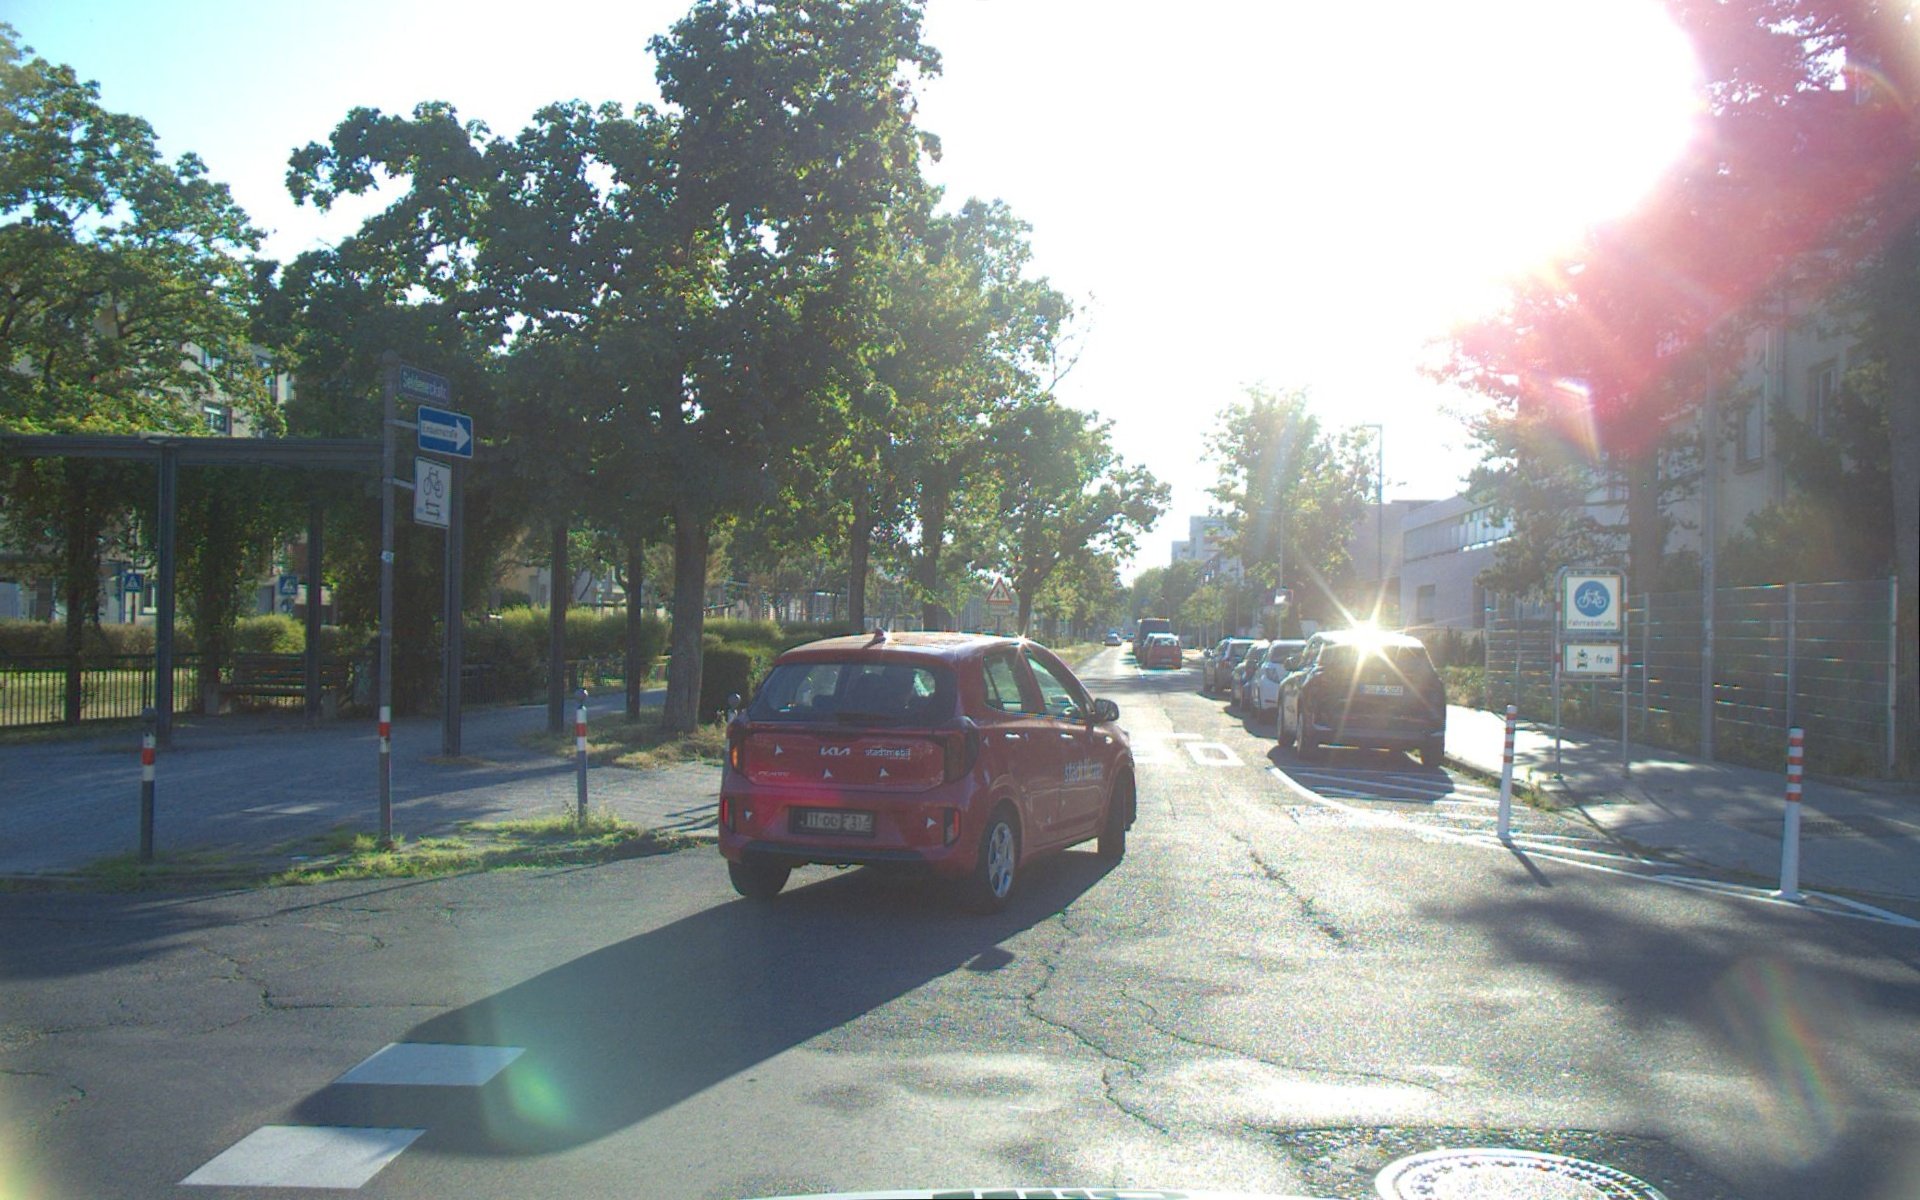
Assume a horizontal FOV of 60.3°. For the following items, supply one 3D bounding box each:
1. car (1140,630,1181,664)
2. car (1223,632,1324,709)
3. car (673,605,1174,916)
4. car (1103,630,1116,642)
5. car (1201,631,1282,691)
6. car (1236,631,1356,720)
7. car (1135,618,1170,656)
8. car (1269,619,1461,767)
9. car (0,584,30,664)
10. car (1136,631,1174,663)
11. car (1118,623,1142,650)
[{"bbox_3d":[9.634,2.253,79.659,1.720,1.545,3.761,1,-1,3],"label":"car"},{"bbox_3d":[6.718,1.473,35.719,1.693,1.545,3.761,1,-1,4],"label":"car"},{"bbox_3d":[-0.022,0.848,10.361,1.729,1.553,3.771,-1,-1,23],"label":"car"},{"bbox_3d":[20.500,4.980,226.956,1.826,1.646,4.002,1,-1,4],"label":"car"},{"bbox_3d":[7.595,1.634,44.913,1.728,1.553,3.774,0,-1,3],"label":"car"},{"bbox_3d":[6.196,1.358,30.839,1.728,1.553,3.774,0,-1,4],"label":"car"},{"bbox_3d":[11.282,2.156,97.246,1.951,2.161,4.002,1,-1,6],"label":"car"},{"bbox_3d":[5.279,1.165,22.071,1.779,1.670,4.218,3,-1,5],"label":"car"},{"bbox_3d":[-36.076,0.787,57.149,6.580,2.793,2.300,1,-1,-24],"label":"car"},{"bbox_3d":[9.874,2.370,84.008,1.693,1.545,3.761,1,-1,3],"label":"car"},{"bbox_3d":[13.921,2.969,135.386,1.951,2.161,4.002,1,-1,6],"label":"car"}]
